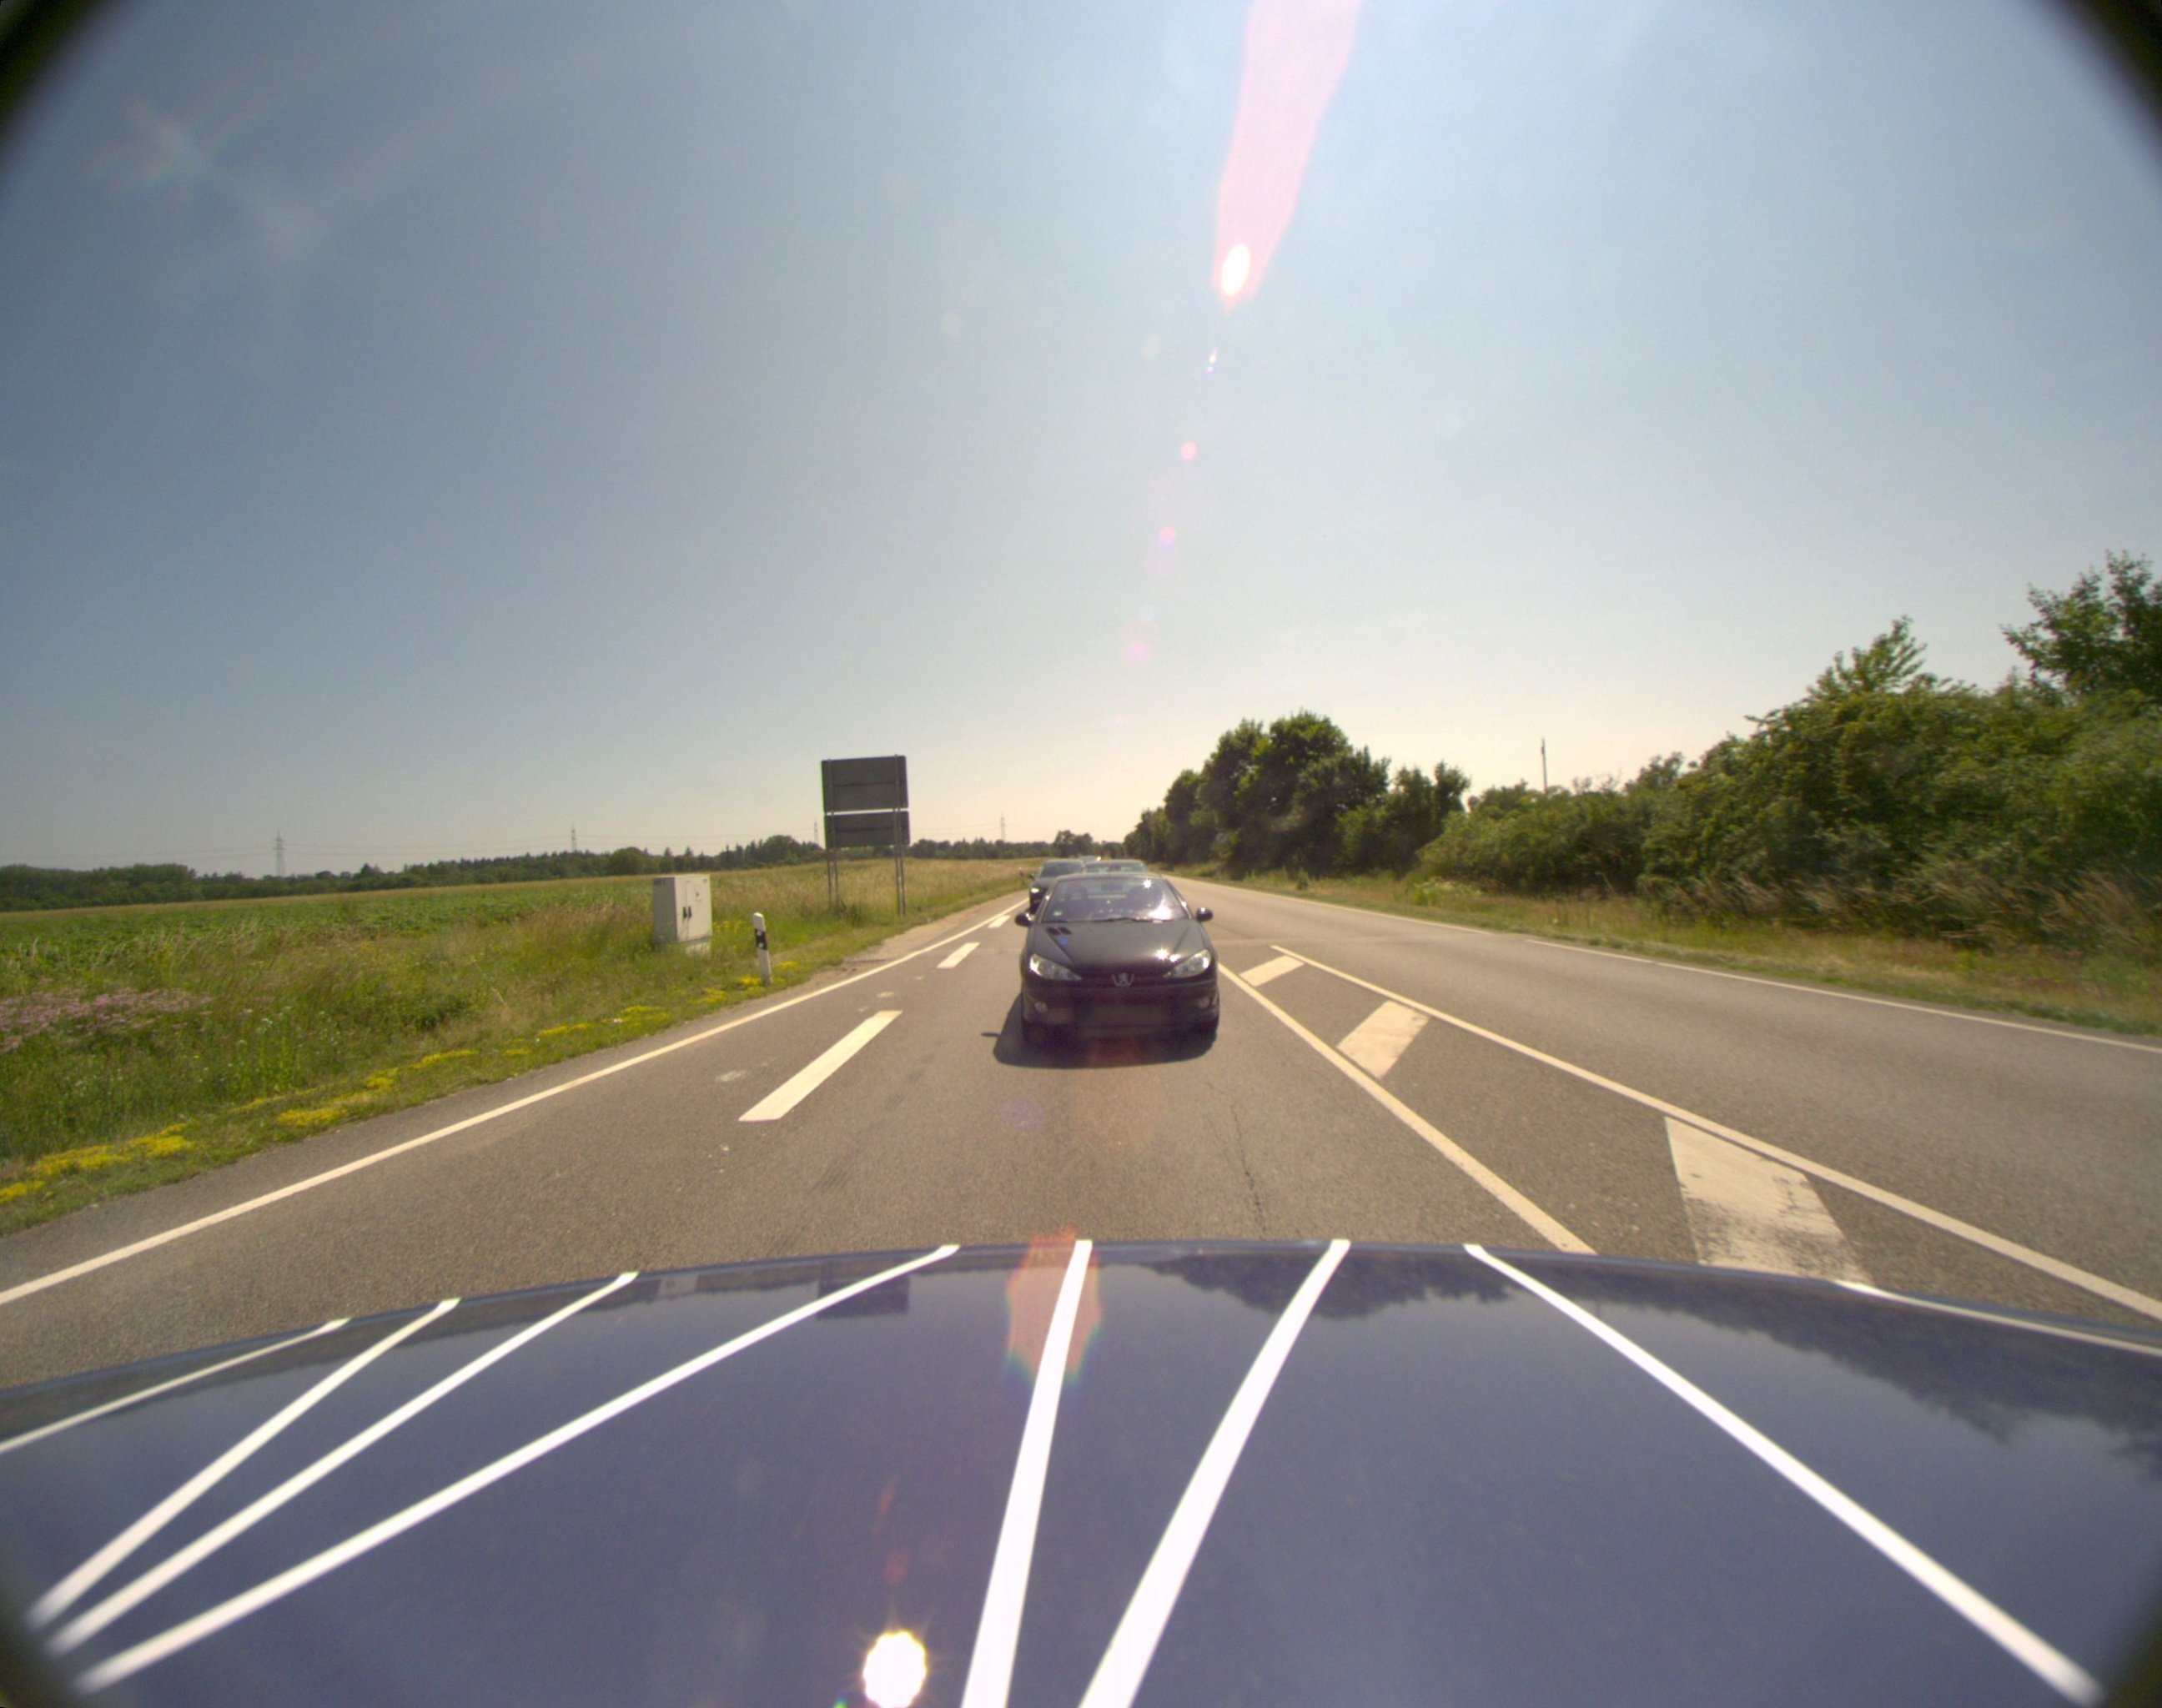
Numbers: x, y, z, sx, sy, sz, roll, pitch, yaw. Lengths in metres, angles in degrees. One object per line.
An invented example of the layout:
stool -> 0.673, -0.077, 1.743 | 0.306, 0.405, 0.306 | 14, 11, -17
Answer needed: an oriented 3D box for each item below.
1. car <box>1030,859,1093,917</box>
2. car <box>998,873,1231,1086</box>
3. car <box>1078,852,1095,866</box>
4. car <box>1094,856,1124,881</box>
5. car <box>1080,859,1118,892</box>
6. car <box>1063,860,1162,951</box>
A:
car -> -0.488, 0.937, 22.656 | 1.665, 1.449, 4.173 | -2, 0, 1
car -> 0.273, 0.970, 7.437 | 1.665, 1.389, 3.731 | -2, 0, 1
car -> 0.507, 0.442, 73.853 | 1.588, 1.294, 3.631 | -2, 0, 1
car -> 1.591, 0.803, 44.087 | 1.588, 1.294, 3.631 | -2, 0, 1
car -> 0.791, 0.948, 34.529 | 1.588, 1.294, 3.631 | -2, 0, 1
car -> 0.611, 0.914, 15.042 | 1.665, 1.477, 3.732 | -2, 0, 2
